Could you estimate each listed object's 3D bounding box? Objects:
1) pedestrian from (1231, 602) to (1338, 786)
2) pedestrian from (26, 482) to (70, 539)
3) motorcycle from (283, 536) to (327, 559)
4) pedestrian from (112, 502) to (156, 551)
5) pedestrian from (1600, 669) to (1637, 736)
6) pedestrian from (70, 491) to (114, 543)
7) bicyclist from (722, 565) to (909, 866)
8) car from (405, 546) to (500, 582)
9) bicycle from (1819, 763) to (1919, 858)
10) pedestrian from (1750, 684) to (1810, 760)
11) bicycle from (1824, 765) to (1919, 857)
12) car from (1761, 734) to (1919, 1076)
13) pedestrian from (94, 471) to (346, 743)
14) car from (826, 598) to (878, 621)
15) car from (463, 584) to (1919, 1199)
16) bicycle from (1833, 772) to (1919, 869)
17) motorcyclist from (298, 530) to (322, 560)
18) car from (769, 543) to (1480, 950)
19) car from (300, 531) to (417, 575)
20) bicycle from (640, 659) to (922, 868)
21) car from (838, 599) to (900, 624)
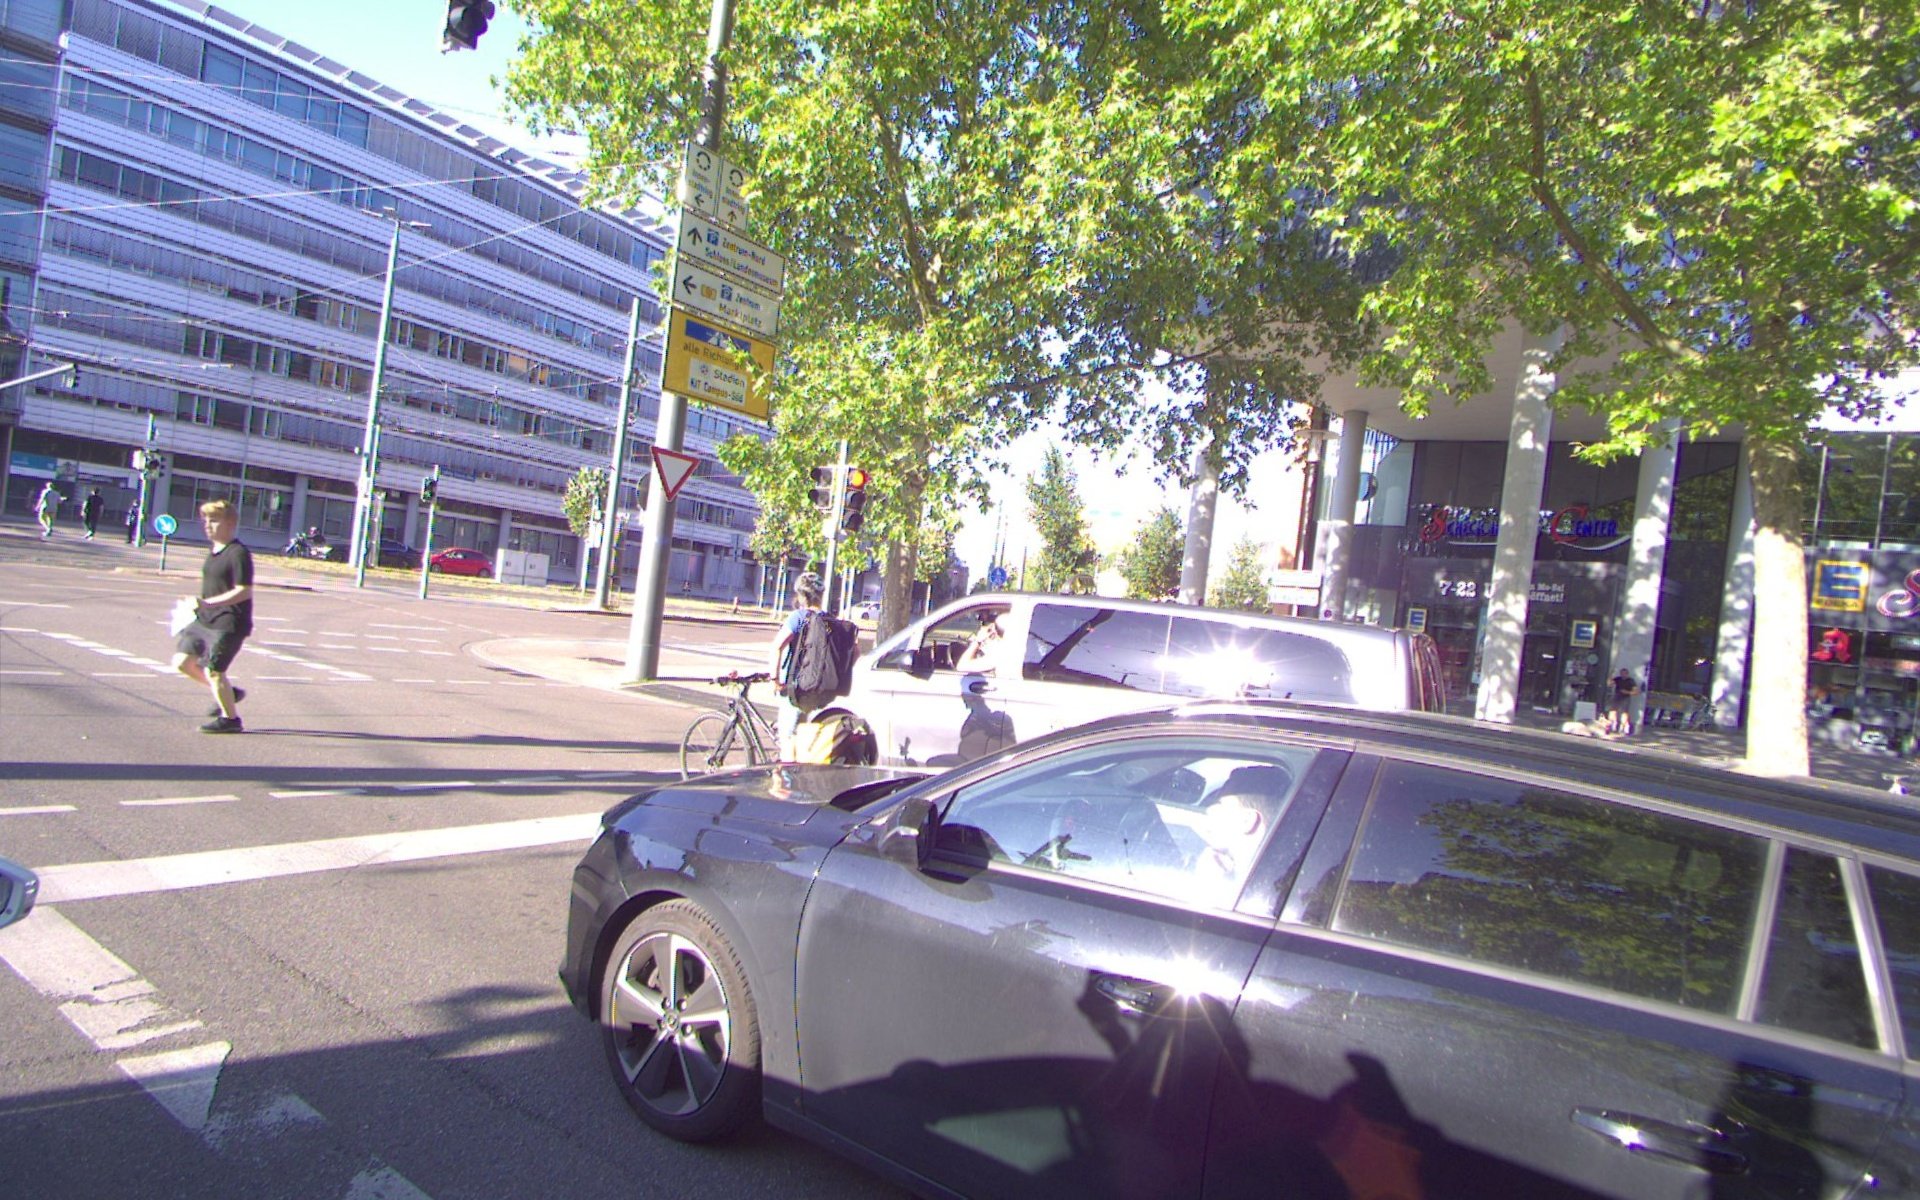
[{"bbox_3d":[3.575,1.014,11.086,0.800,1.868,0.642,7,1,30],"label":"pedestrian"},{"bbox_3d":[-31.241,-3.053,34.452,0.858,1.811,0.863,7,1,38],"label":"pedestrian"},{"bbox_3d":[-30.128,-2.417,46.300,0.460,0.820,1.568,7,0,36],"label":"motorcycle"},{"bbox_3d":[-29.552,-2.636,36.010,0.883,1.583,0.947,7,1,39],"label":"pedestrian"},{"bbox_3d":[17.514,2.731,26.742,0.598,1.707,0.511,6,1,-41],"label":"pedestrian"},{"bbox_3d":[-30.969,-2.953,35.890,1.020,1.706,0.912,7,1,39],"label":"pedestrian"},{"bbox_3d":[-0.910,0.691,6.359,0.766,1.714,0.632,7,1,32],"label":"bicyclist"},{"bbox_3d":[-26.218,-1.860,52.057,1.758,1.411,3.984,7,1,37],"label":"car"},{"bbox_3d":[11.205,2.545,12.085,0.437,0.930,1.210,6,0,-39],"label":"bicycle"},{"bbox_3d":[20.357,3.017,24.995,0.704,1.728,0.806,7,1,15],"label":"pedestrian"},{"bbox_3d":[11.503,2.607,12.358,0.460,0.938,1.210,6,0,-39],"label":"bicycle"},{"bbox_3d":[6.556,1.752,4.606,4.181,1.503,1.741,7,0,31],"label":"car"},{"bbox_3d":[-5.321,0.072,7.293,0.729,1.769,1.092,7,0,25],"label":"pedestrian"},{"bbox_3d":[-8.760,0.747,81.775,1.758,1.415,4.157,7,0,37],"label":"car"},{"bbox_3d":[0.784,0.953,2.723,4.199,1.431,1.742,7,-2,32],"label":"car"},{"bbox_3d":[10.546,2.479,11.099,1.233,0.898,0.462,7,1,32],"label":"bicycle"},{"bbox_3d":[-30.030,-2.546,46.454,0.452,1.291,0.712,7,1,36],"label":"motorcyclist"},{"bbox_3d":[1.123,0.844,7.941,5.012,2.004,1.939,7,0,31],"label":"car"},{"bbox_3d":[-27.362,-2.122,45.877,1.758,1.415,4.157,7,0,37],"label":"car"},{"bbox_3d":[-1.215,1.008,6.626,1.839,0.993,0.561,7,1,32],"label":"bicycle"},{"bbox_3d":[-6.624,0.835,73.692,1.758,1.353,4.605,7,0,37],"label":"car"}]
